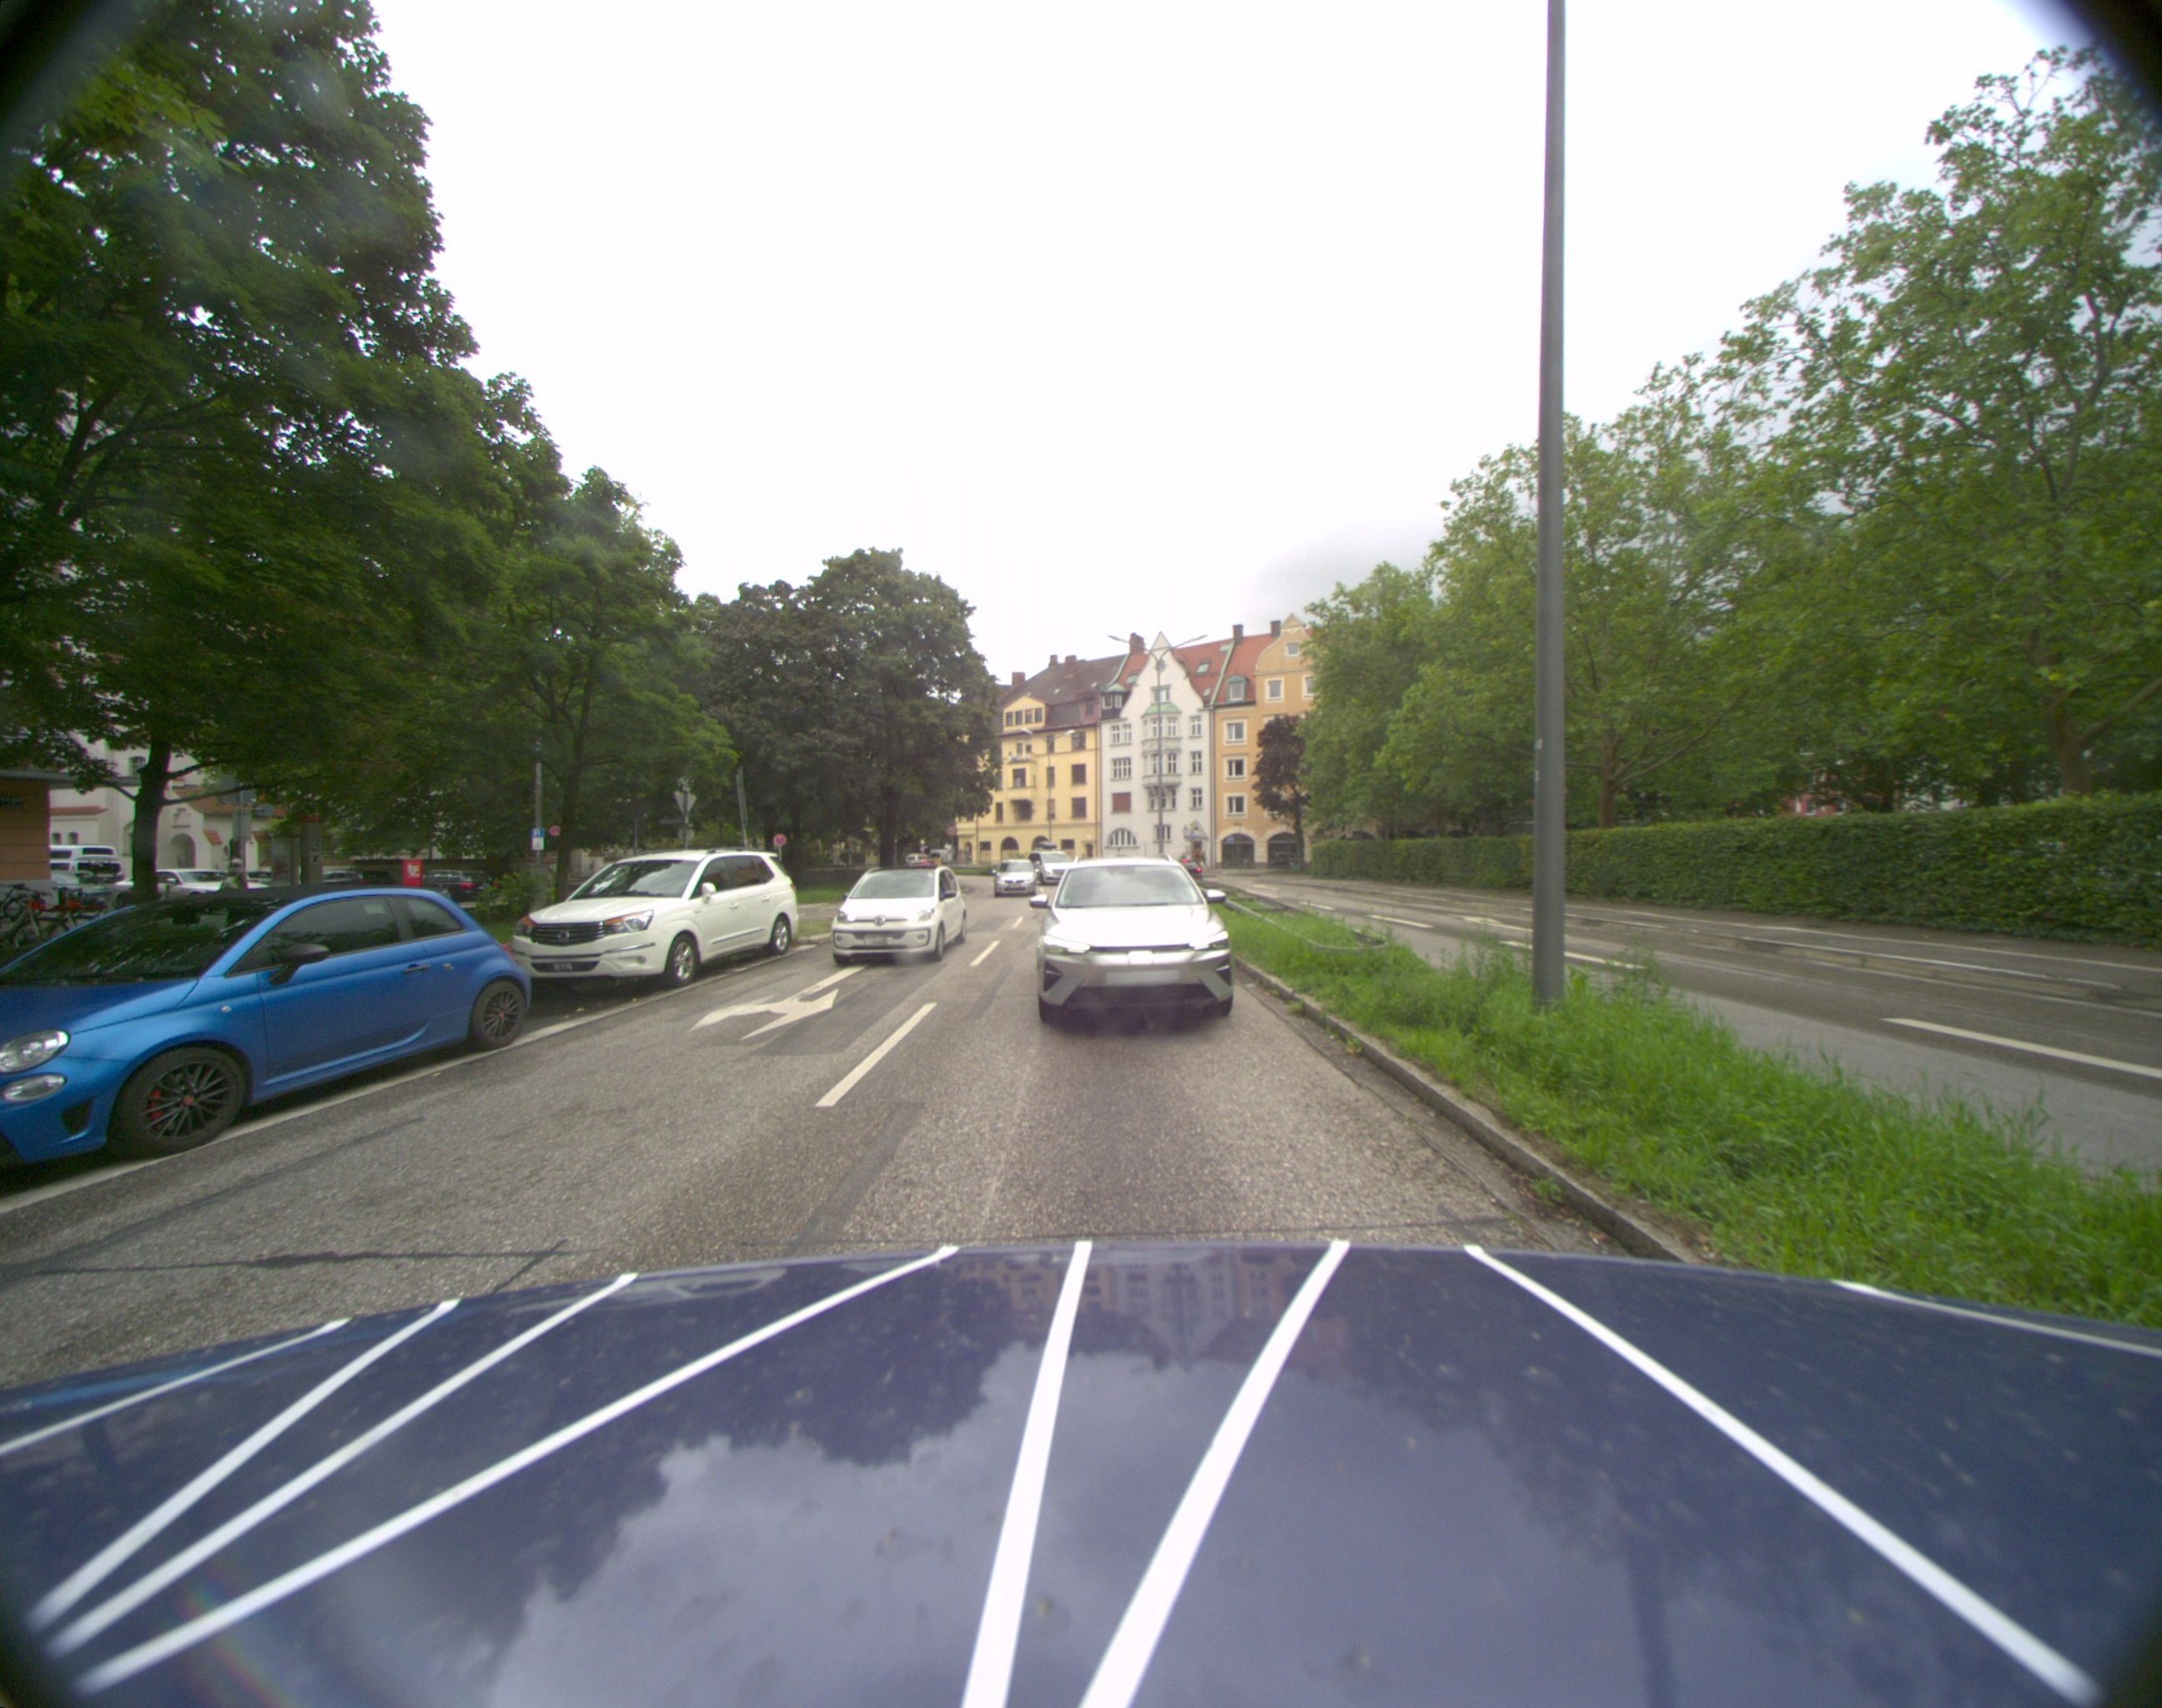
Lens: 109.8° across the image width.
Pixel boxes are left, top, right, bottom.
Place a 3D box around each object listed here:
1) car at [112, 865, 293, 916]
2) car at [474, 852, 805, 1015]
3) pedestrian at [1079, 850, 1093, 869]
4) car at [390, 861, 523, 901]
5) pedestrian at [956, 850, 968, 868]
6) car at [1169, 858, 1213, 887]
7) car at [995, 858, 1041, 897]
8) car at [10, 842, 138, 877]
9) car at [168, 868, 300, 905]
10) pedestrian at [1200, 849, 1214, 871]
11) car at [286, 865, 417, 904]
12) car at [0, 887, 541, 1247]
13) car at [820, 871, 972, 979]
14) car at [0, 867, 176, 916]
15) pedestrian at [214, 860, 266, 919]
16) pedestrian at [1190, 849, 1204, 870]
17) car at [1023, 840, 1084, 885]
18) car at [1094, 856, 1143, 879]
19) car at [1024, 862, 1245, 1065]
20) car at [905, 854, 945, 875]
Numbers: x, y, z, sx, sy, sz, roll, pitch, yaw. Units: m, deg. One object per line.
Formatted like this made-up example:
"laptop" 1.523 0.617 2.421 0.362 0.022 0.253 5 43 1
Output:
"car" -29.188 1.200 25.310 4.436 1.458 1.862 -2 1 10
"car" -5.953 0.906 11.178 1.848 1.845 5.024 -1 0 1
"pedestrian" 0.522 0.588 79.772 1.005 2.002 0.880 -1 1 32
"car" -26.429 1.127 32.211 4.436 1.458 1.862 -2 1 10
"pedestrian" -14.017 0.591 89.498 1.005 2.002 0.880 -1 1 32
"car" 5.697 0.922 39.666 1.758 1.377 4.000 -1 0 1
"car" -2.618 0.964 32.324 1.648 1.521 3.886 0 0 0
"car" -48.361 0.256 36.521 4.436 1.458 1.862 -2 1 10
"car" -38.427 1.468 34.507 4.436 1.458 1.862 -2 1 10
"pedestrian" 11.981 0.561 72.411 1.005 2.002 0.880 -1 1 32
"car" -32.146 1.328 33.532 4.436 1.458 1.862 -2 1 10
"car" -5.819 1.084 5.233 1.523 1.540 3.662 -1 0 1
"car" -2.913 1.060 12.724 1.648 1.457 3.619 0 0 0
"car" -34.270 1.277 26.227 4.436 1.458 1.862 -2 1 10
"pedestrian" -23.087 0.966 20.869 0.602 1.543 0.644 -2 1 7
"pedestrian" 11.248 0.550 73.900 1.005 2.002 0.880 -1 1 32
"car" -1.642 0.454 42.641 1.916 2.337 4.936 -1 0 -21
"car" 2.396 0.846 49.603 1.761 1.377 3.993 -1 0 -20
"car" 0.415 0.875 7.854 1.710 1.521 3.886 0 0 0
"car" -15.511 1.042 75.612 3.993 1.973 1.661 0 0 38
